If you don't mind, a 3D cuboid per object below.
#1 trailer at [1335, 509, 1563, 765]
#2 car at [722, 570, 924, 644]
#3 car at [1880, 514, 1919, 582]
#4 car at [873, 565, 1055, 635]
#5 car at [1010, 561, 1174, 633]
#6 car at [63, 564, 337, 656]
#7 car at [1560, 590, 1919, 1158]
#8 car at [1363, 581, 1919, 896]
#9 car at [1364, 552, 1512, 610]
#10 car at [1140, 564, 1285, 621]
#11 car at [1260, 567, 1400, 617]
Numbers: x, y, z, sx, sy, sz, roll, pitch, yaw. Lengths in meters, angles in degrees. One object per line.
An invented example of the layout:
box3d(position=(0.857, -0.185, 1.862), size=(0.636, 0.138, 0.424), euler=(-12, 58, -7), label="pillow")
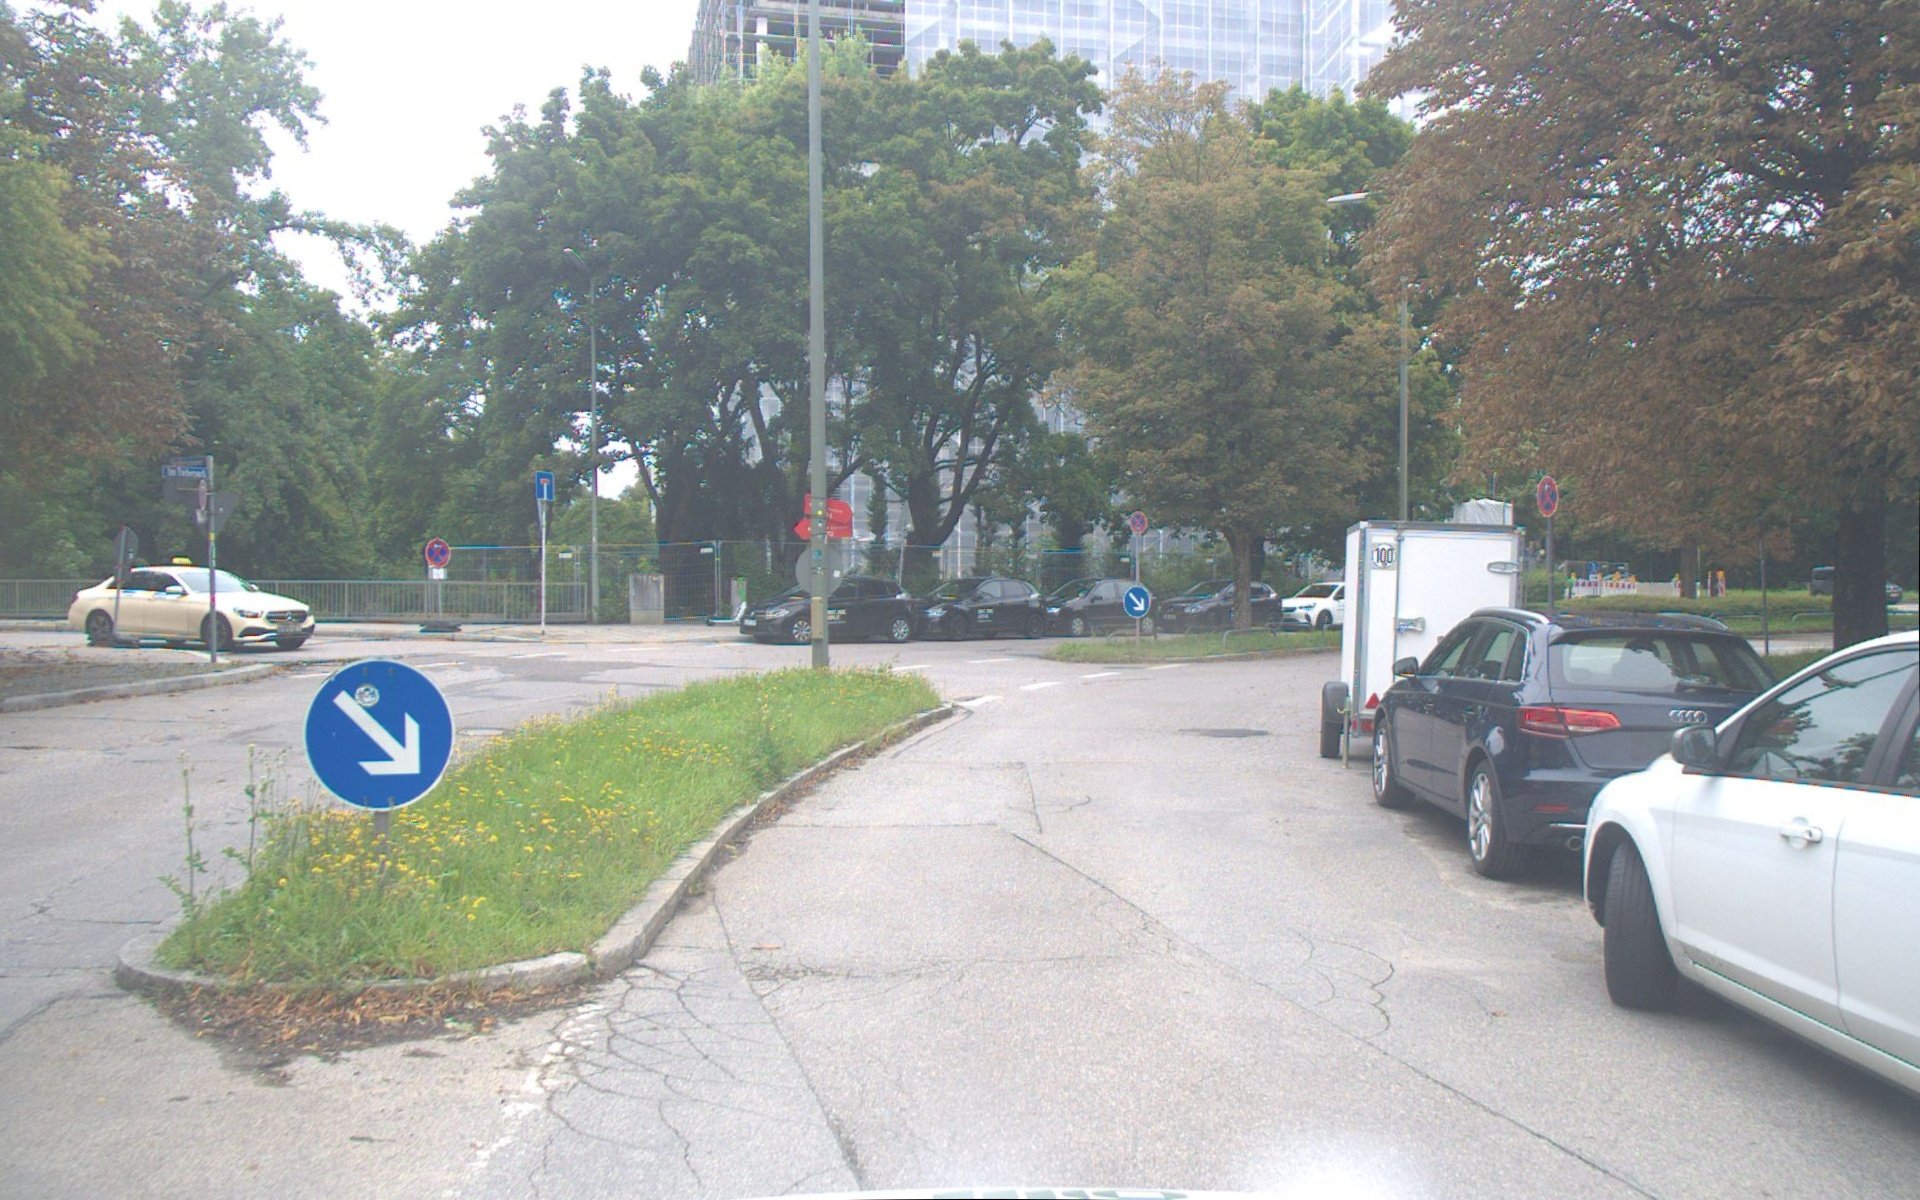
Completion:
box3d(position=(4.505, 0.271, 15.774), size=(1.770, 2.049, 4.838), euler=(0, 1, 13), label="trailer")
box3d(position=(-2.949, 0.111, 35.917), size=(4.005, 1.457, 1.972), euler=(-1, 3, -40), label="car")
box3d(position=(51.544, -2.640, 84.018), size=(3.037, 3.509, 8.674), euler=(0, 1, -19), label="car")
box3d(position=(0.131, -0.038, 38.629), size=(3.964, 1.568, 1.971), euler=(-1, 1, -41), label="car")
box3d(position=(3.378, -0.100, 42.015), size=(3.964, 1.735, 1.971), euler=(-1, 1, -41), label="car")
box3d(position=(-13.965, 0.132, 30.370), size=(4.740, 1.572, 1.893), euler=(1, 1, 23), label="car")
box3d(position=(3.462, 0.750, 4.939), size=(1.731, 1.512, 4.220), euler=(0, 1, -1), label="car")
box3d(position=(3.856, 0.658, 10.244), size=(1.833, 1.462, 4.330), euler=(-1, 1, 3), label="car")
box3d(position=(14.627, -0.570, 50.586), size=(4.335, 1.634, 1.873), euler=(1, 0, -30), label="car")
box3d(position=(6.921, -0.220, 45.198), size=(3.969, 1.486, 1.813), euler=(-1, 1, -41), label="car")
box3d(position=(10.789, -0.254, 48.168), size=(4.175, 1.408, 1.777), euler=(-1, 1, -38), label="car")
